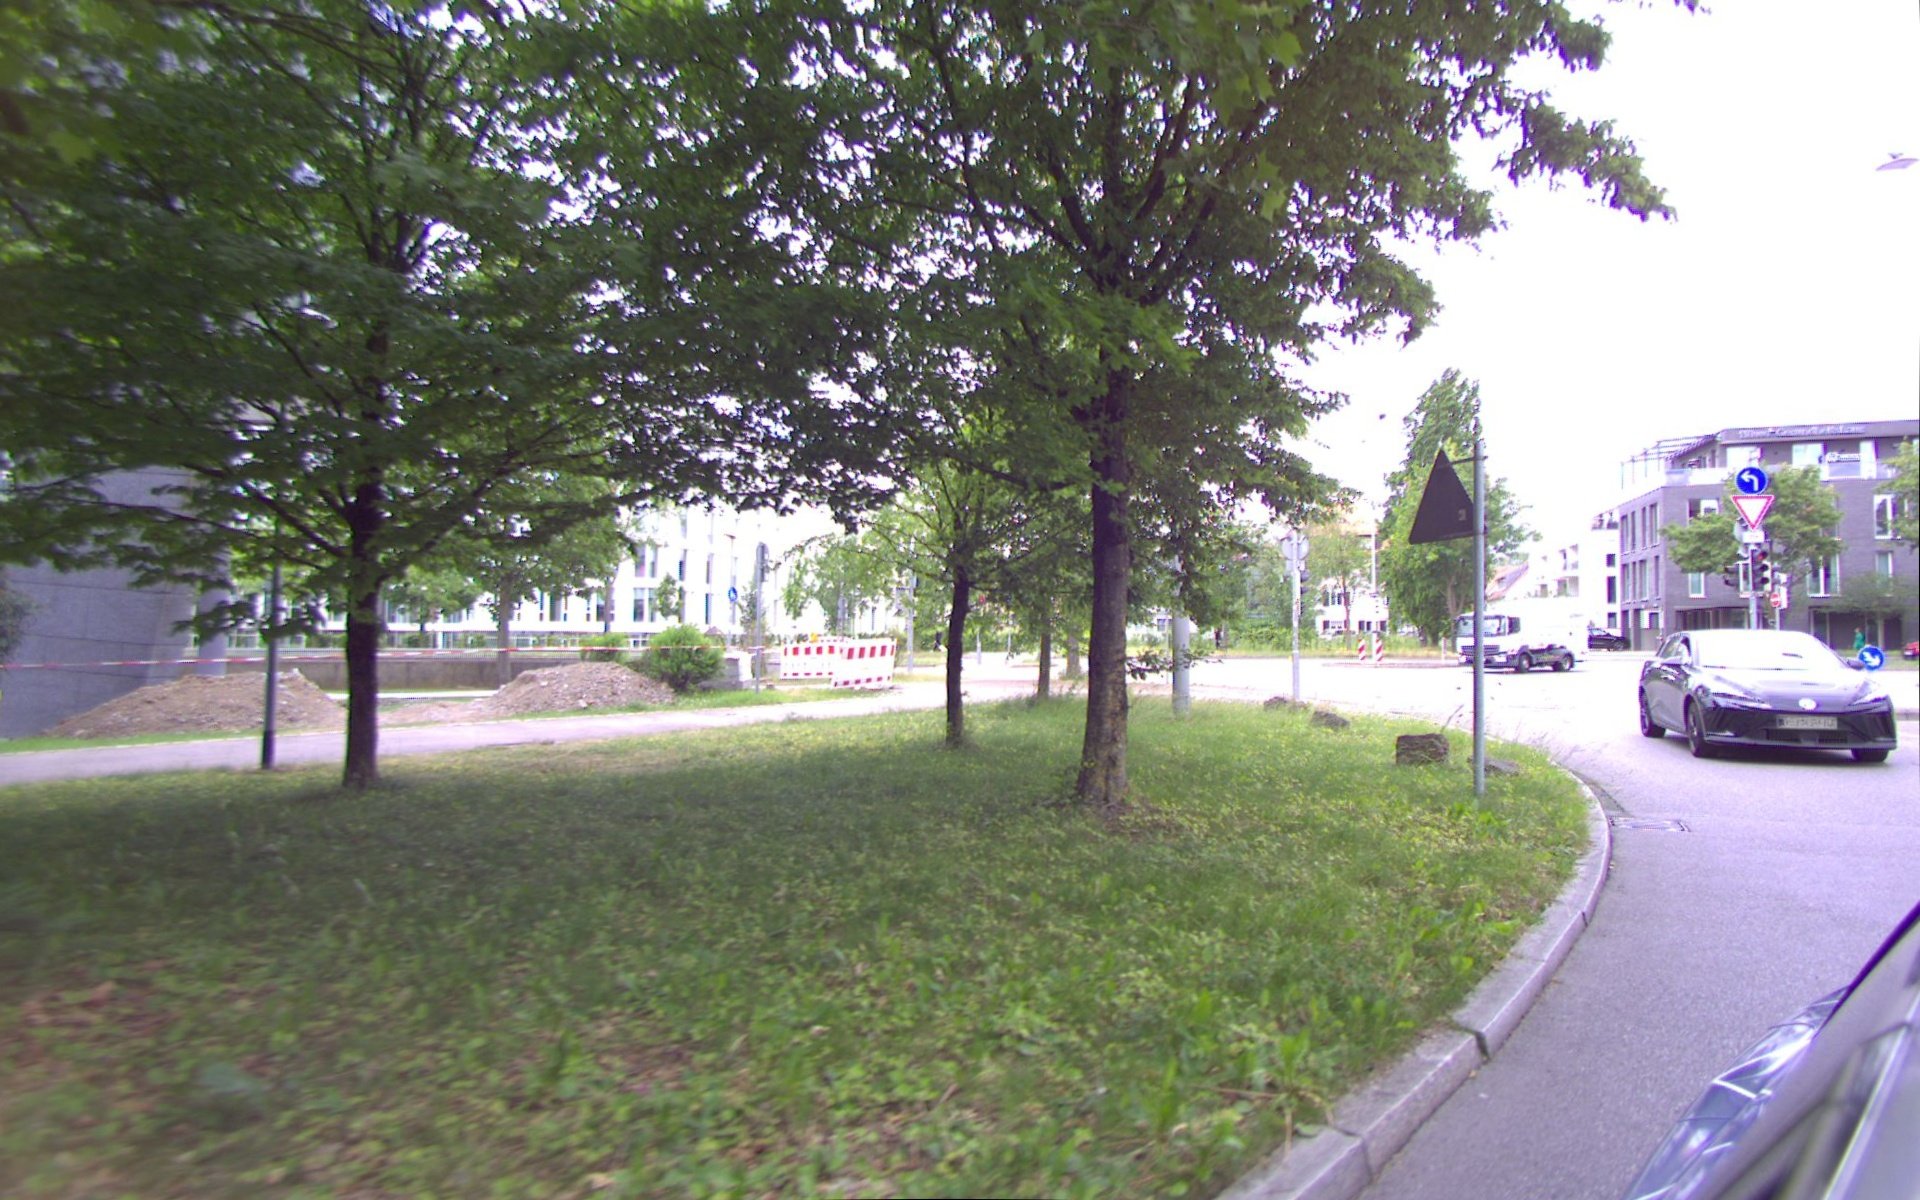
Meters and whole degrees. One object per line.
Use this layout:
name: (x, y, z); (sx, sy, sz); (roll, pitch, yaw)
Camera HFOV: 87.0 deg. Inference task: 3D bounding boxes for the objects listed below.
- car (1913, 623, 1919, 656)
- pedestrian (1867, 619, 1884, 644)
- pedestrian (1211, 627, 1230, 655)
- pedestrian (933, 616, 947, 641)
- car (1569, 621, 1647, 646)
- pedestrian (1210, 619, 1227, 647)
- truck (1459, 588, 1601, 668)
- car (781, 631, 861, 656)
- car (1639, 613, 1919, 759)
car: (46.113, 1.812, 45.539); (4.314, 1.506, 1.816); (1, -4, 15)
pedestrian: (50.923, 1.762, 56.297); (0.532, 1.375, 0.649); (-5, -6, 38)
pedestrian: (16.449, 2.588, 63.872); (0.984, 1.718, 0.607); (-1, -4, 1)
pedestrian: (-1.348, 1.936, 68.023); (0.705, 1.648, 0.557); (-5, -6, 40)
car: (44.201, 2.300, 69.136); (4.072, 1.622, 1.986); (0, -4, 19)
pedestrian: (16.542, 2.117, 64.773); (0.817, 1.718, 0.616); (-1, -4, 1)
truck: (24.363, 1.121, 43.202); (6.338, 3.236, 2.439); (0, -1, -31)
car: (-8.230, 2.577, 60.084); (4.286, 1.442, 1.993); (-1, -2, 11)
car: (10.020, 1.011, 12.693); (1.782, 1.503, 3.984); (-3, -4, 25)
